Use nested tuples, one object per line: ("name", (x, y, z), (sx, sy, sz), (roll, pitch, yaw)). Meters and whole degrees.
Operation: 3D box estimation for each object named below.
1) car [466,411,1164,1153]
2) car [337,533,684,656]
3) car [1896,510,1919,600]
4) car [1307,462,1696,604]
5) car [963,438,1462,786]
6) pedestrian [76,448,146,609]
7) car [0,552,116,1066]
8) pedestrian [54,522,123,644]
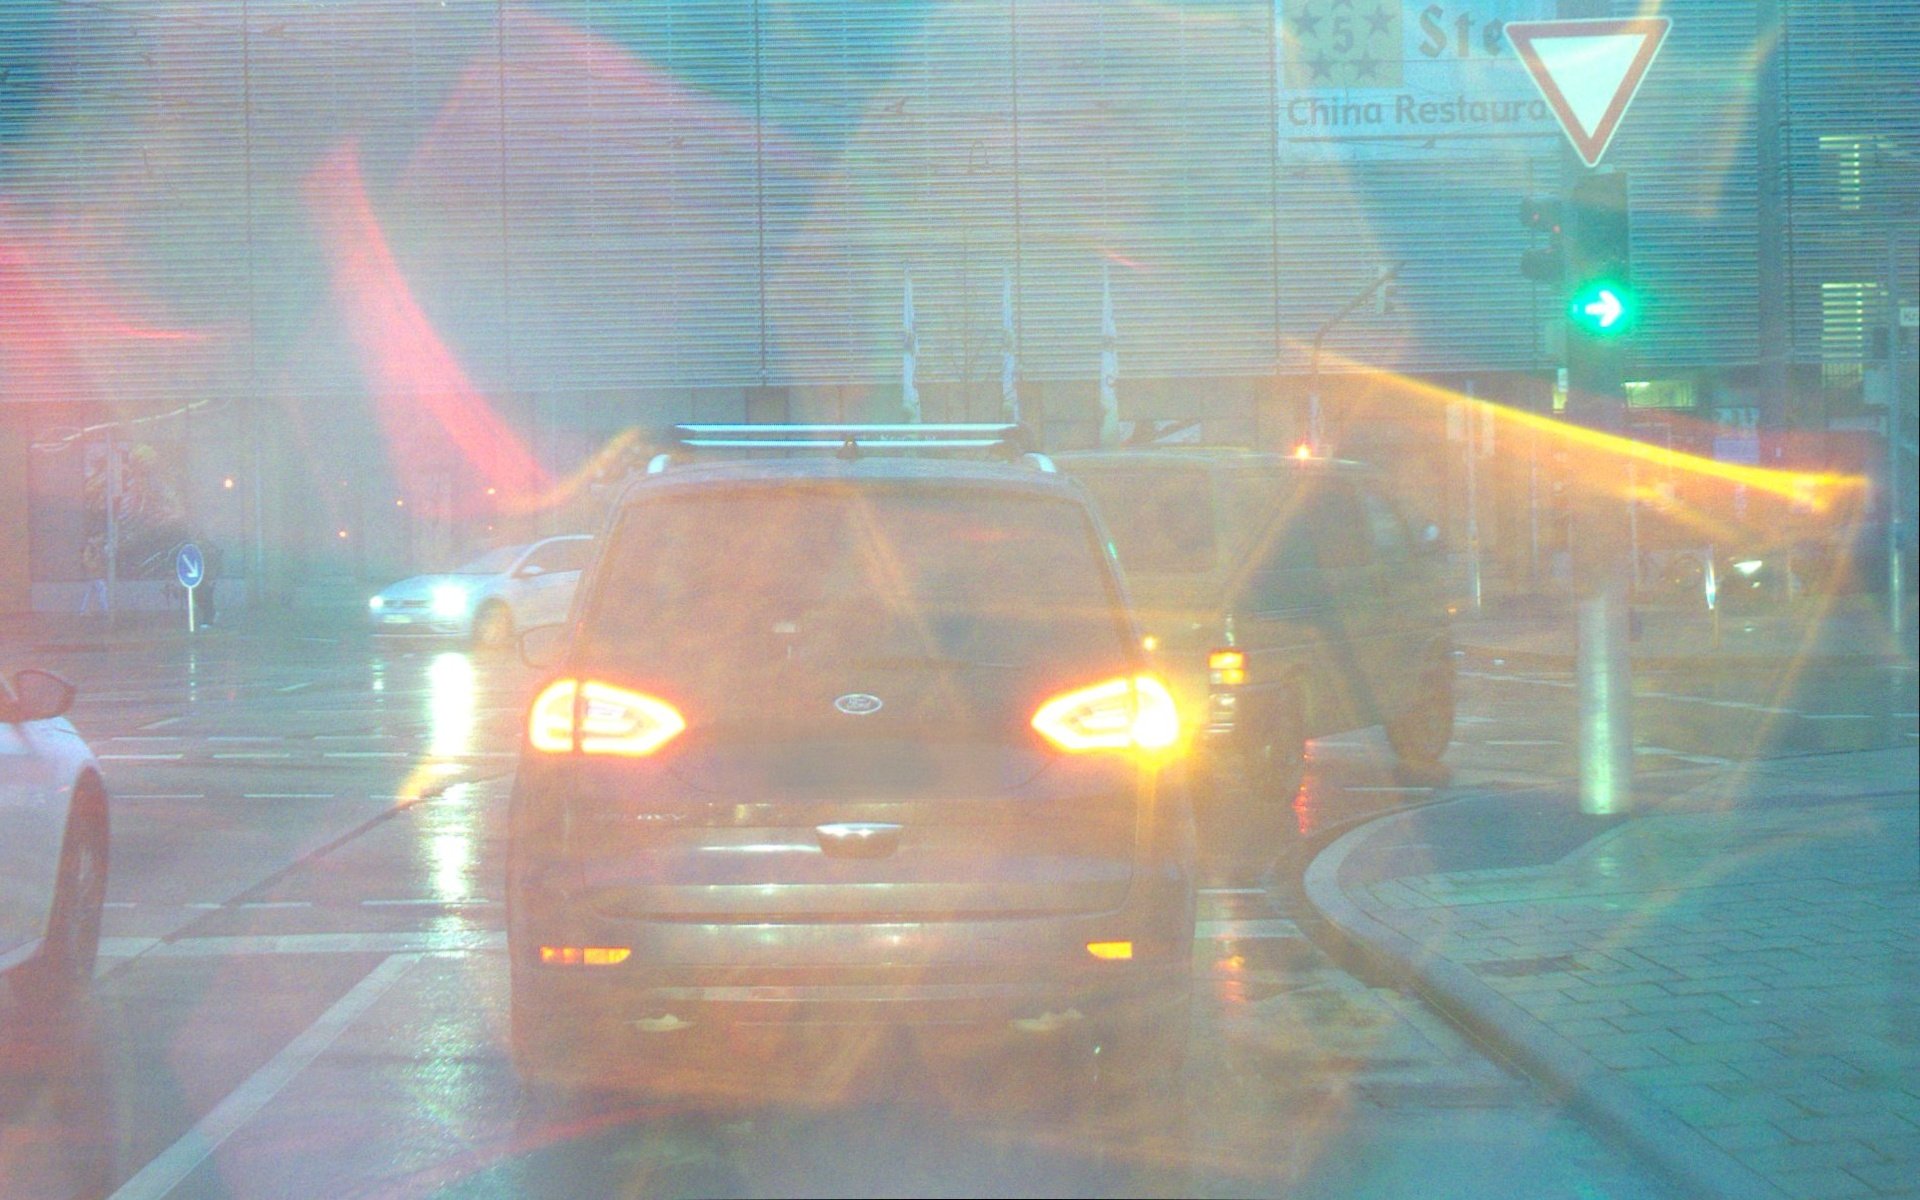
("car", (-0.285, 0.406, 10.352), (1.674, 1.773, 4.000), (1, 1, 2))
("car", (-5.804, -0.099, 44.790), (1.864, 1.481, 4.331), (0, 1, 41))
("car", (17.501, -0.768, 55.332), (4.408, 1.440, 1.630), (-1, 1, -8))
("car", (8.342, -1.018, 52.962), (5.648, 2.052, 1.952), (-1, 1, 19))
("car", (1.617, 0.019, 20.181), (1.845, 1.800, 4.483), (-1, 1, 19))
("pedestrian", (-15.584, -1.310, 63.138), (0.963, 2.915, 1.114), (0, 0, 2))
("car", (-3.596, 0.605, 9.453), (1.758, 1.458, 3.918), (0, 1, -3))
("pedestrian", (-17.453, -0.339, 68.857), (1.110, 2.431, 0.966), (0, 0, 2))
